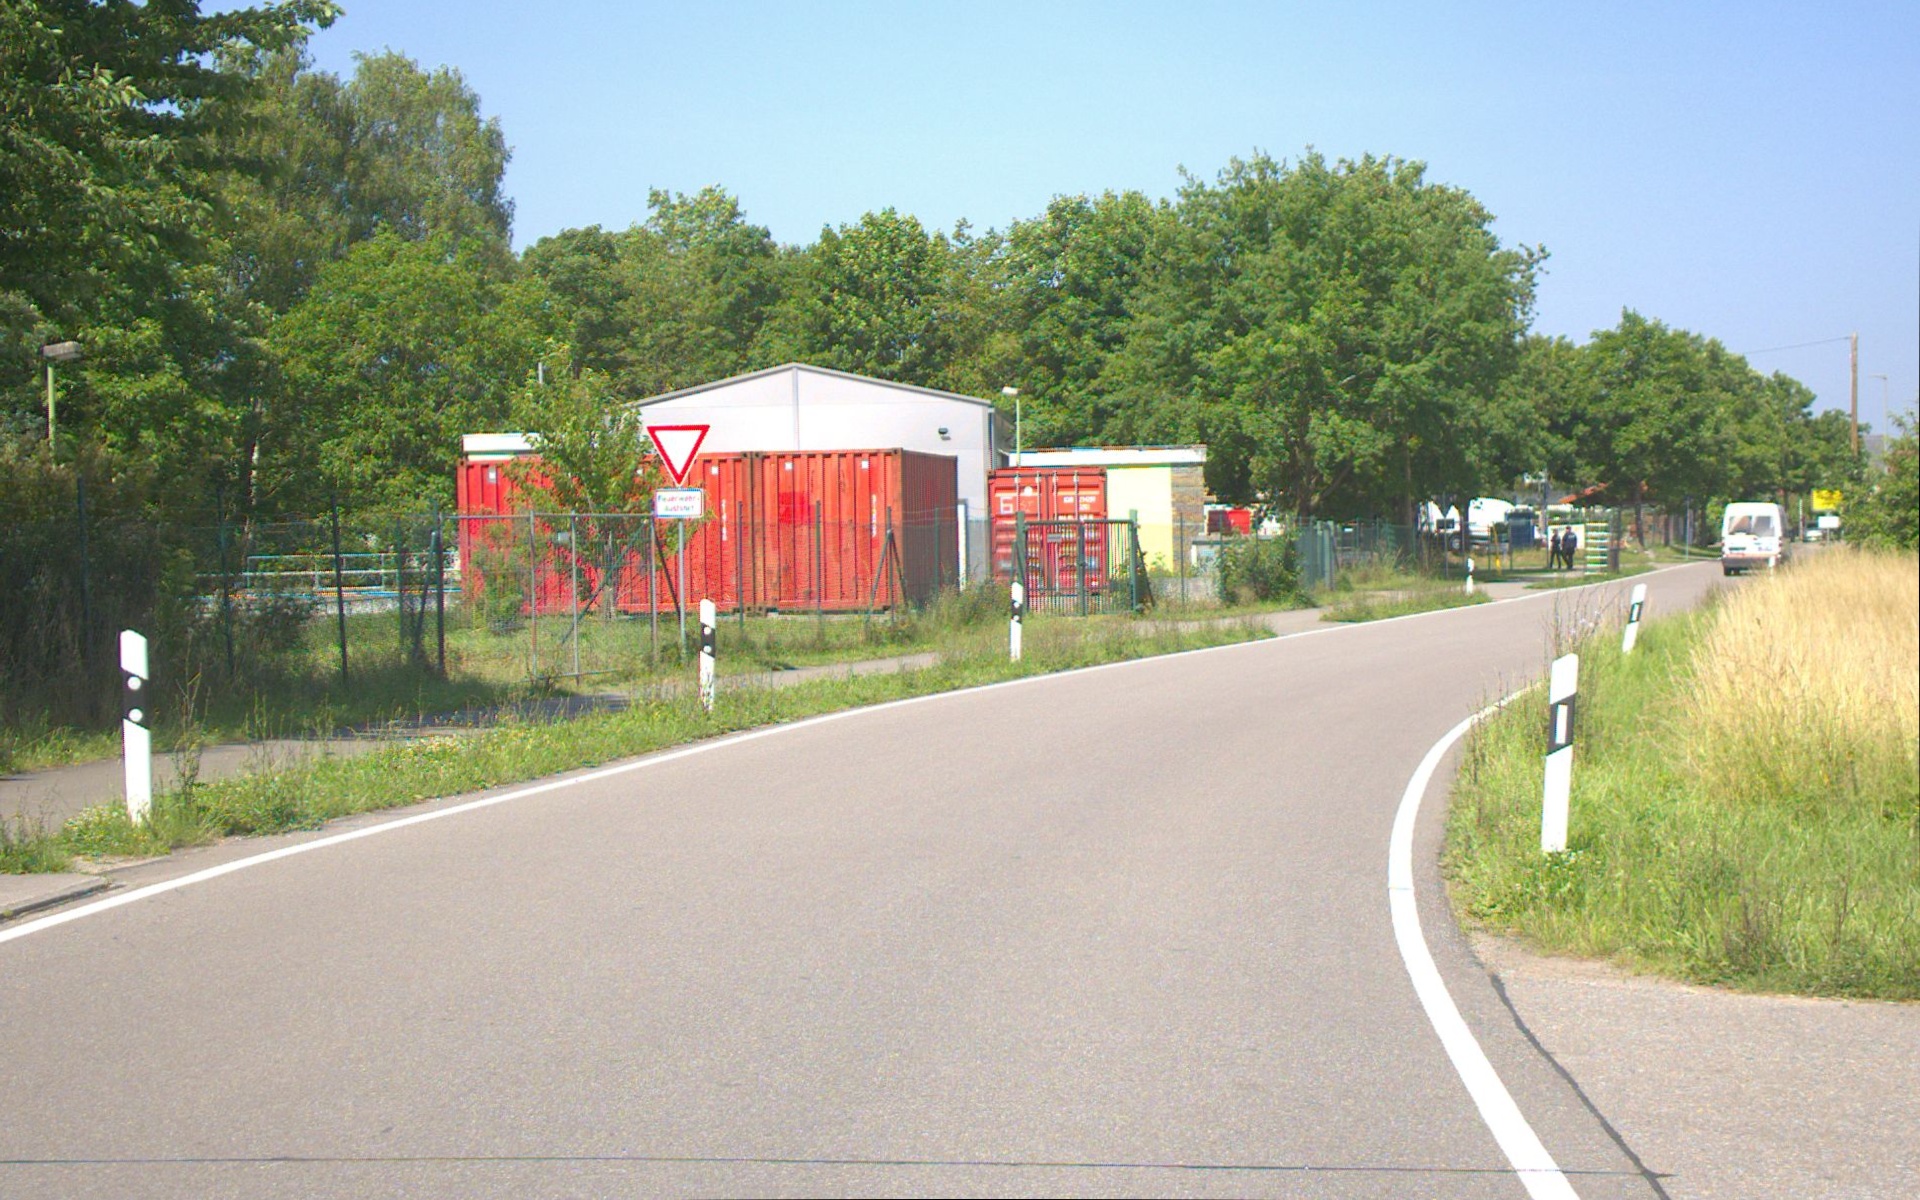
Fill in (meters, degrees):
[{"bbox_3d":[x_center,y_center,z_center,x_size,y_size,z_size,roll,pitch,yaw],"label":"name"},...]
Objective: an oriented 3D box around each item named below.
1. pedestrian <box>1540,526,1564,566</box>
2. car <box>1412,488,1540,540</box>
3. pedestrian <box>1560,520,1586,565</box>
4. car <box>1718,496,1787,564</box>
[{"bbox_3d":[23.487,-2.138,136.368,0.678,1.560,0.717,0,1,39],"label":"pedestrian"},{"bbox_3d":[23.860,-3.979,158.872,5.593,2.258,2.001,-2,1,-22],"label":"car"},{"bbox_3d":[24.366,-2.290,136.666,0.721,1.797,0.708,0,1,39],"label":"pedestrian"},{"bbox_3d":[27.210,-2.416,118.005,1.995,2.258,4.723,-1,1,16],"label":"car"}]
